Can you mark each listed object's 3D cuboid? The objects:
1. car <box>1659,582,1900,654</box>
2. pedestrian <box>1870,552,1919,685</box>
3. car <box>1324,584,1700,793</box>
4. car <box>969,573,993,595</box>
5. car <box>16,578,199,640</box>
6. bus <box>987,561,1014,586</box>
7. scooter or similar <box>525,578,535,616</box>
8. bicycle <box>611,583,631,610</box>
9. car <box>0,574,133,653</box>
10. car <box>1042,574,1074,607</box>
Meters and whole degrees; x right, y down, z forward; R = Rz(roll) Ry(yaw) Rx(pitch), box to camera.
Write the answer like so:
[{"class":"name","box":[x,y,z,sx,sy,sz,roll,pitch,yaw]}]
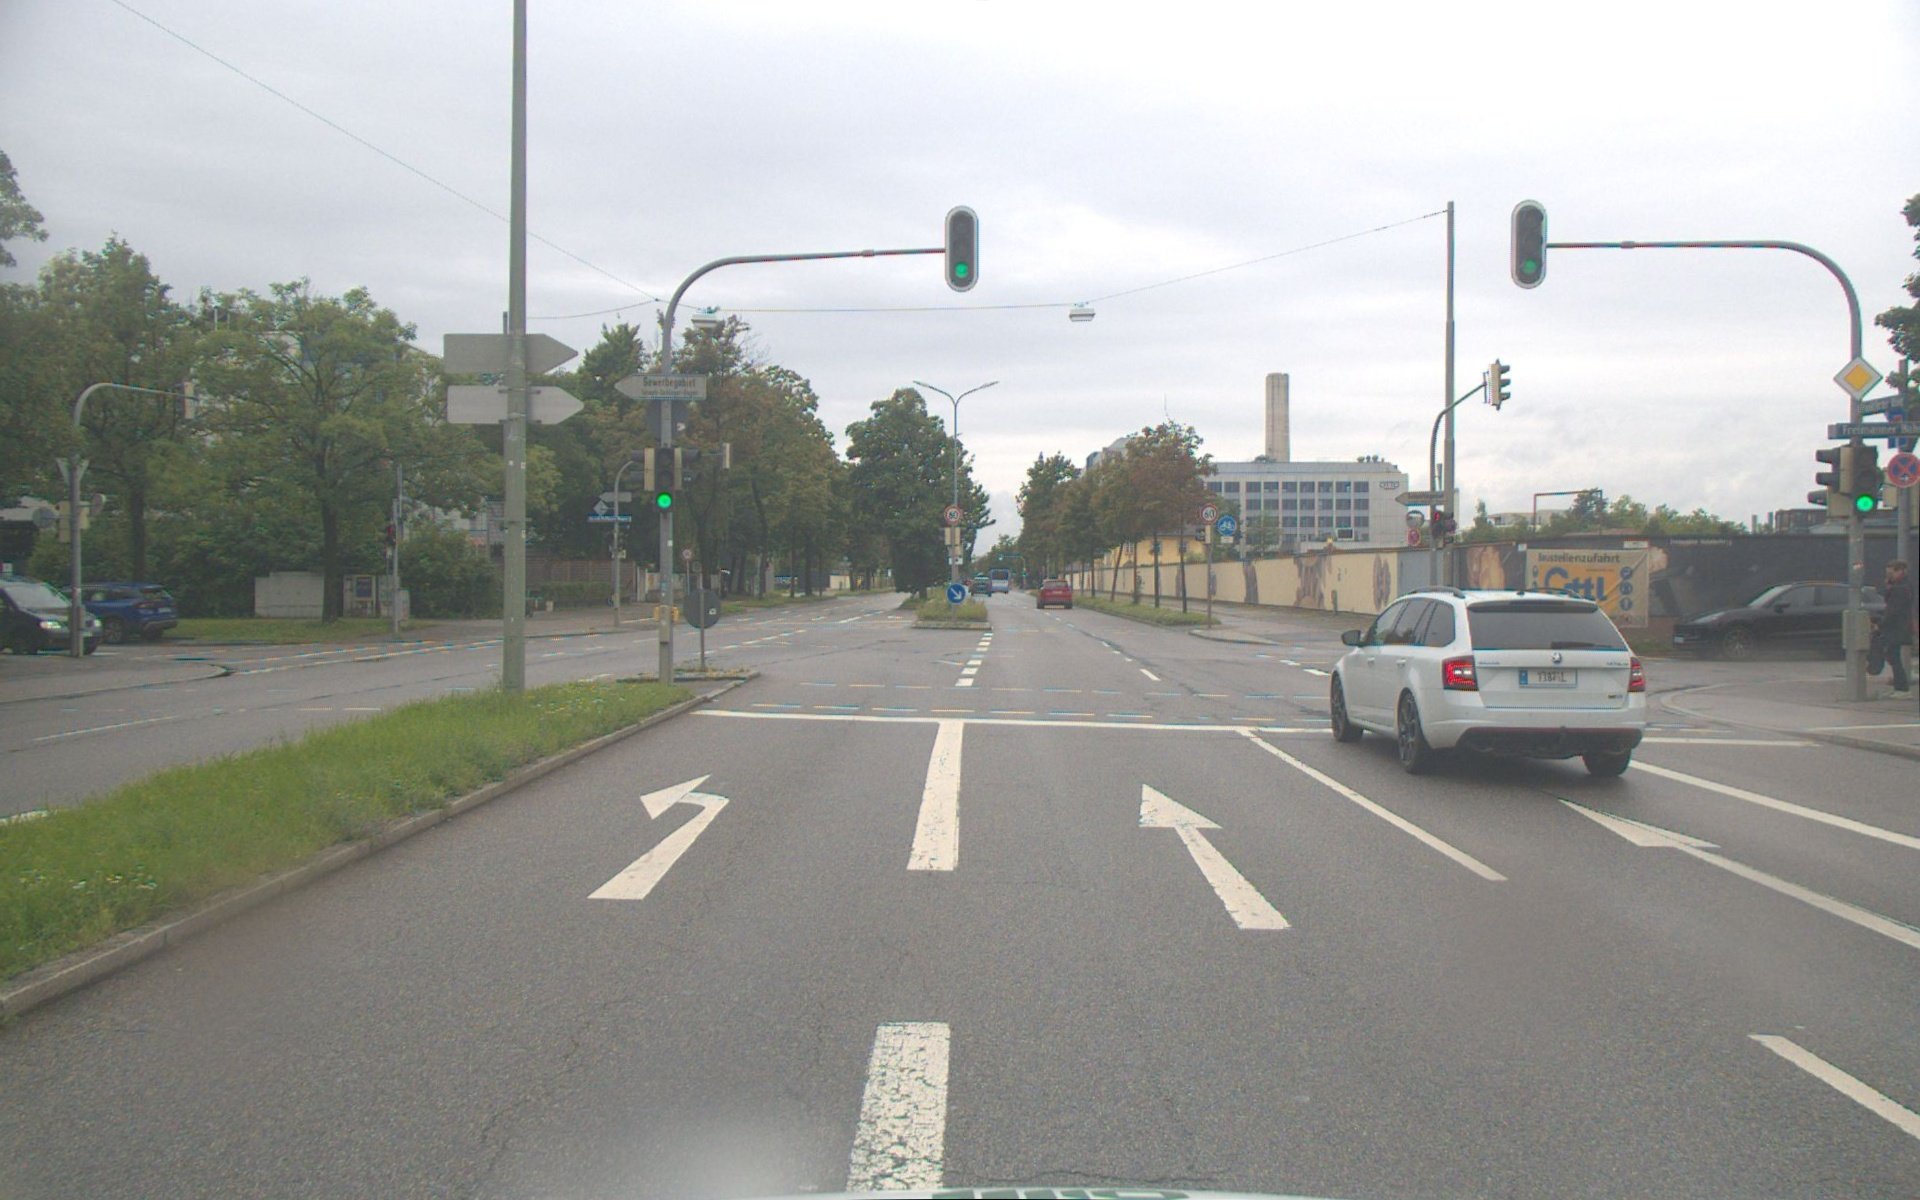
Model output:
[{"class":"car","box":[17.435,0.375,35.348,4.161,1.453,2.001,-1,0,3]},{"class":"pedestrian","box":[12.141,0.212,20.962,0.786,1.643,0.687,-2,0,-1]},{"class":"car","box":[4.539,0.624,14.377,1.839,1.493,4.503,1,1,1]},{"class":"car","box":[1.863,-1.410,148.459,2.042,1.898,4.385,1,1,-1]},{"class":"car","box":[-24.142,0.247,46.921,4.177,1.601,2.002,-1,2,9]},{"class":"bus","box":[5.406,-3.555,220.415,3.155,3.181,10.343,1,1,-1]},{"class":"scooter or similar","box":[-16.604,-0.110,63.820,0.364,1.449,1.400,1,0,-15]},{"class":"bicycle","box":[-17.034,-0.204,83.146,0.570,1.318,2.453,1,1,-2]},{"class":"car","box":[-21.767,0.331,38.439,4.678,1.753,2.000,-1,0,23]},{"class":"car","box":[5.337,-0.528,90.500,1.454,1.745,3.550,1,1,-1]}]
